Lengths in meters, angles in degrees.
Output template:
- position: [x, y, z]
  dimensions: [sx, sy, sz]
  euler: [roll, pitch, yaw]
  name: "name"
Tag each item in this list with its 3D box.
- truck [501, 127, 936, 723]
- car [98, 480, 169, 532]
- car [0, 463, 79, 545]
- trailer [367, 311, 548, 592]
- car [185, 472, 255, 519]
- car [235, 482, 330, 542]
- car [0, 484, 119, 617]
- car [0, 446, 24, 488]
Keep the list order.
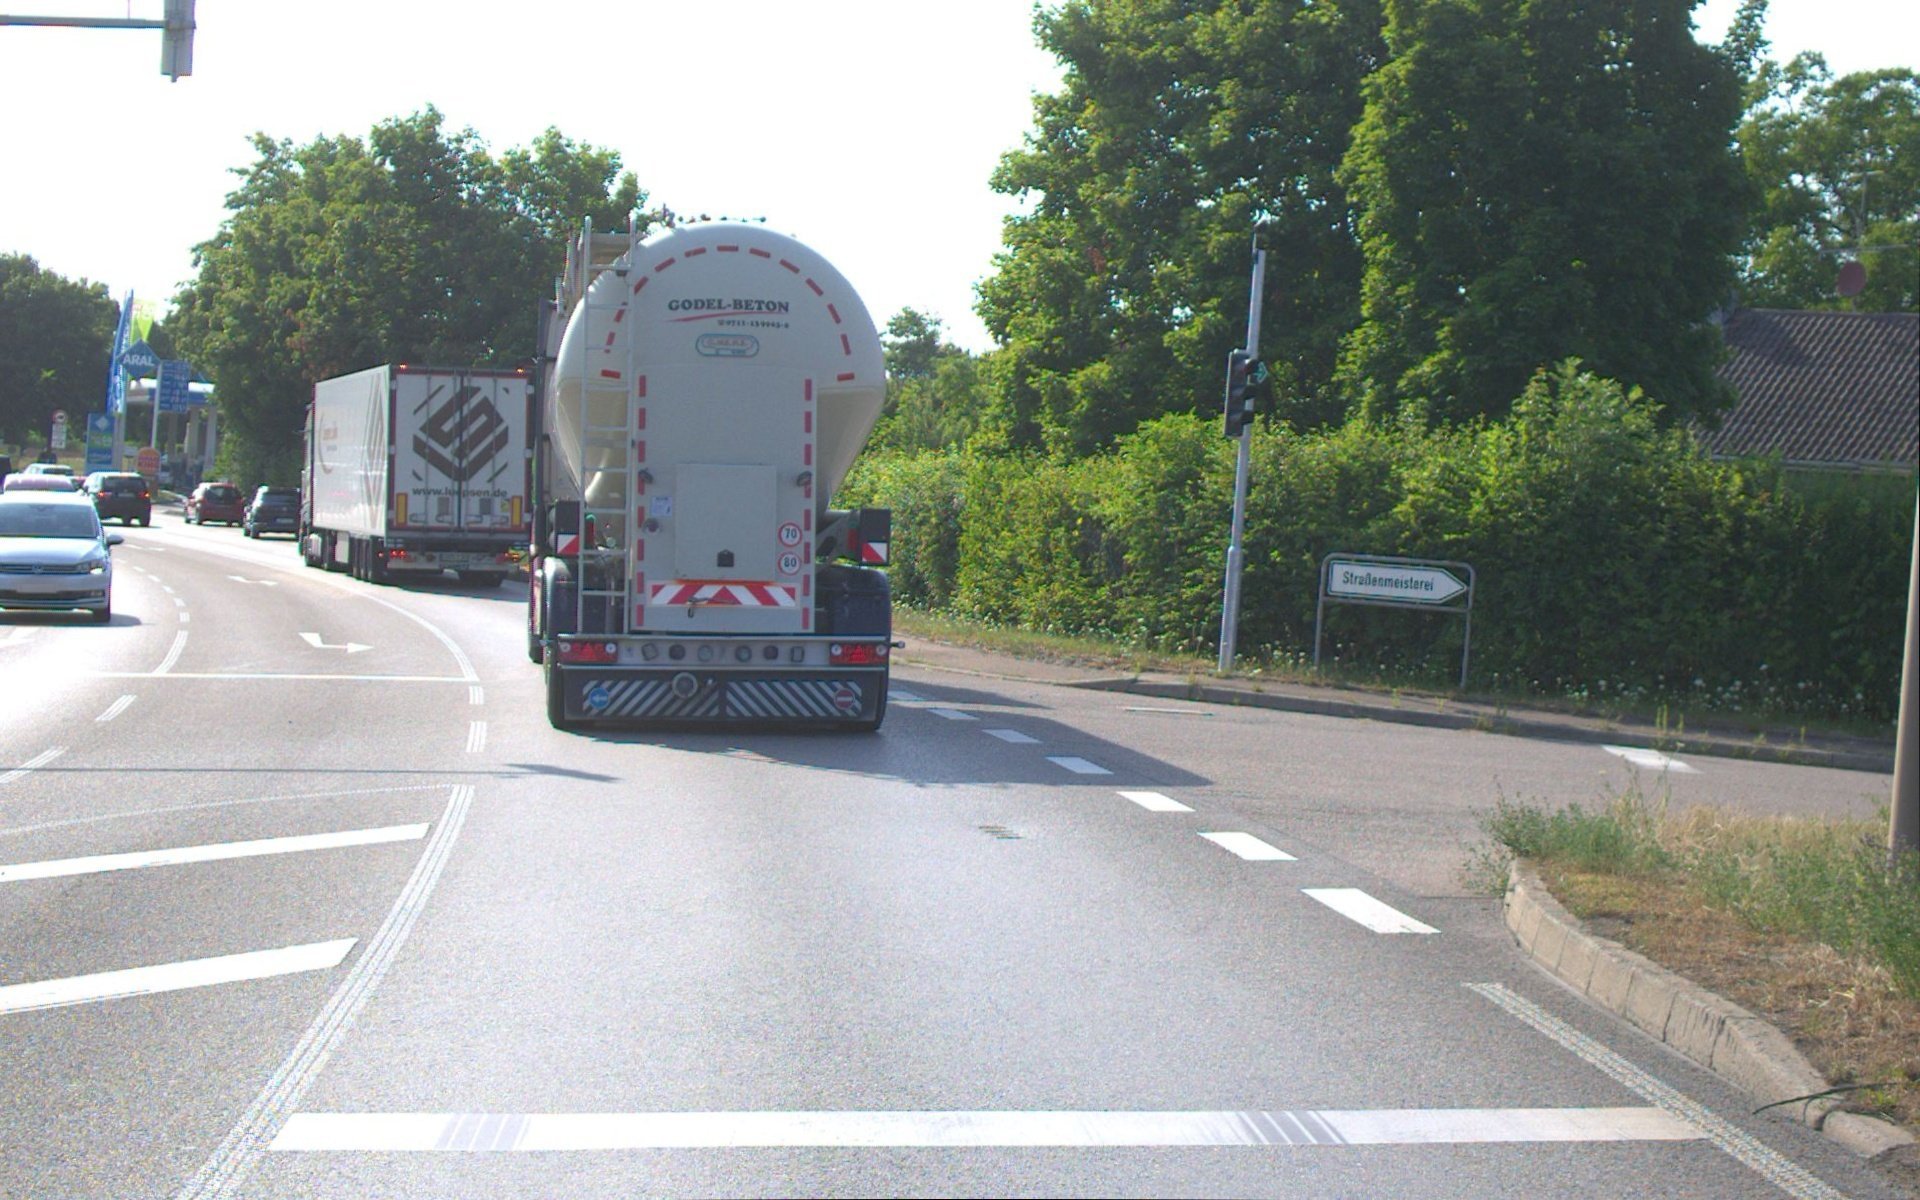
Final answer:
- position: [-2.391, -1.258, 30.457]
  dimensions: [2.975, 4.161, 11.664]
  euler: [2, 0, -7]
  name: "truck"
- position: [-27.266, -3.103, 113.384]
  dimensions: [1.881, 1.594, 4.001]
  euler: [2, 1, -19]
  name: "car"
- position: [-19.197, -1.988, 70.732]
  dimensions: [1.881, 1.594, 4.001]
  euler: [2, 1, -17]
  name: "car"
- position: [-9.790, -2.654, 66.143]
  dimensions: [2.963, 4.865, 10.290]
  euler: [2, 0, -10]
  name: "trailer"
- position: [-25.363, -3.563, 117.717]
  dimensions: [1.683, 1.463, 4.001]
  euler: [2, 0, -21]
  name: "car"
- position: [-20.242, -2.614, 102.568]
  dimensions: [1.993, 1.650, 4.001]
  euler: [2, 0, -22]
  name: "car"
- position: [-11.932, -0.674, 44.597]
  dimensions: [1.881, 1.594, 4.001]
  euler: [2, 1, -15]
  name: "car"
- position: [-37.950, -5.197, 133.564]
  dimensions: [1.882, 1.594, 4.000]
  euler: [2, 1, -33]
  name: "car"
